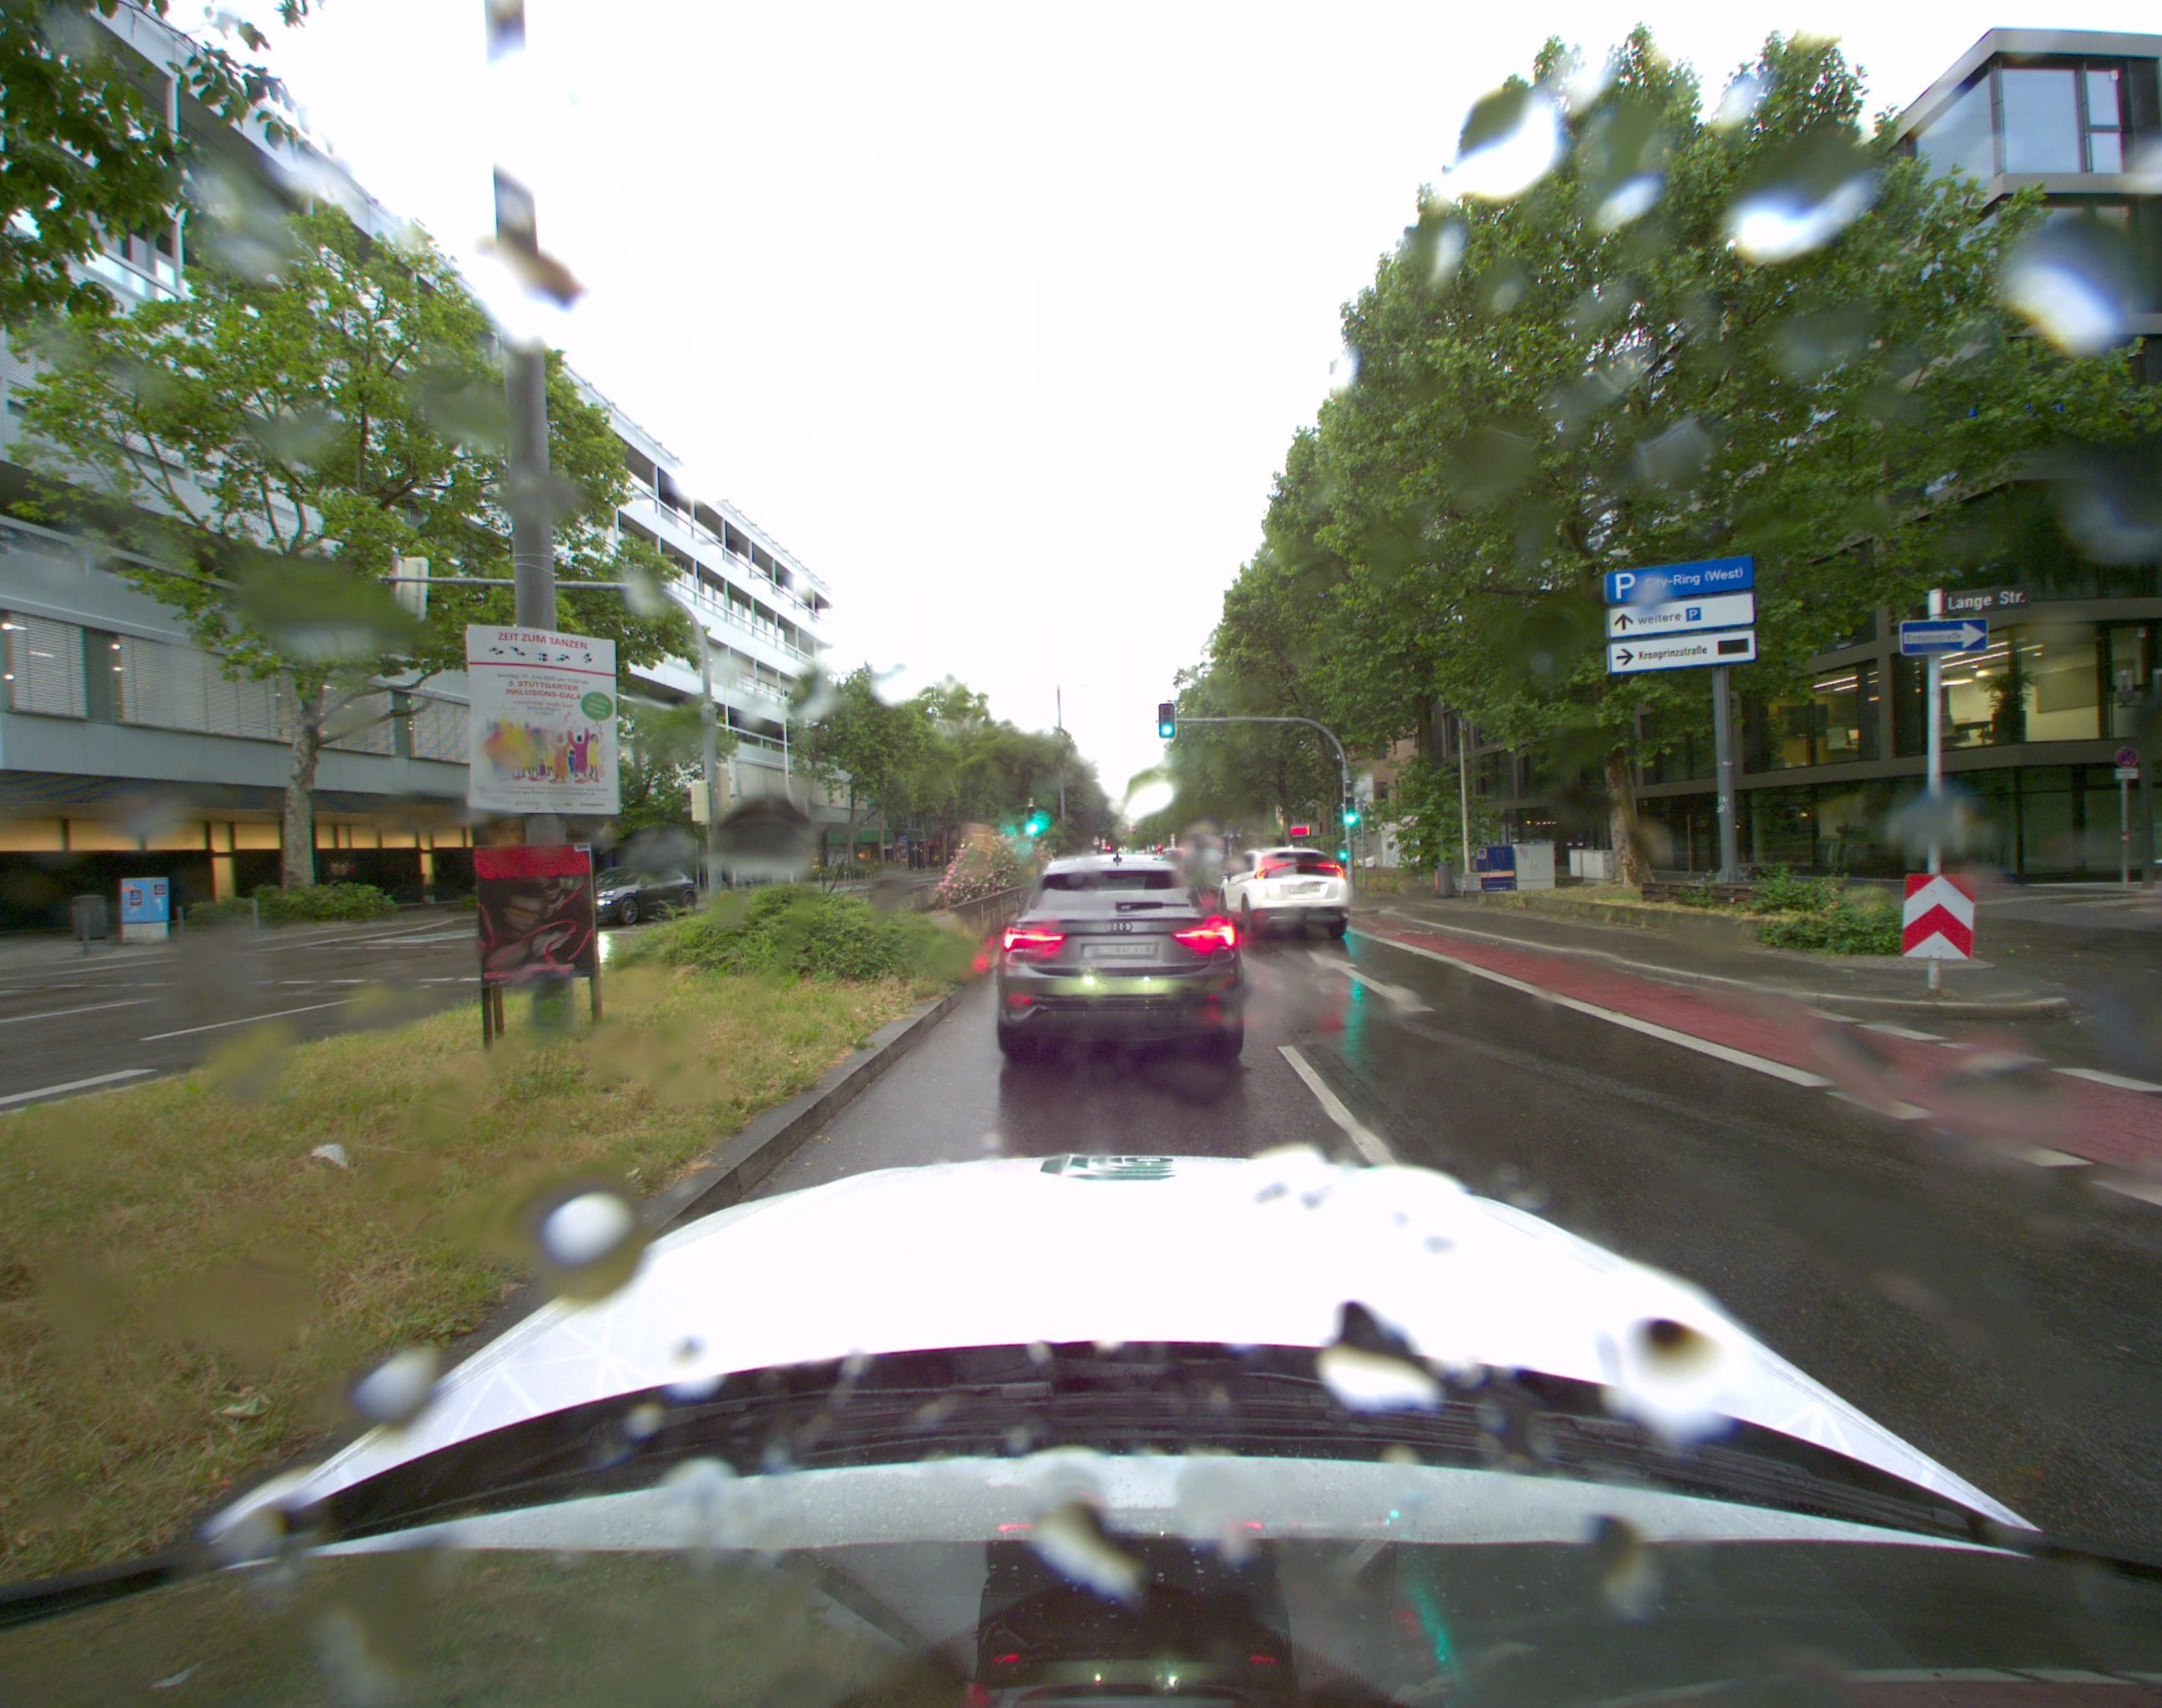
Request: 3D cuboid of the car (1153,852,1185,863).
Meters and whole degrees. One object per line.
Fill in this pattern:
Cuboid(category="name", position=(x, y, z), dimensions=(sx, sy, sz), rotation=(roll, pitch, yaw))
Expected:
Cuboid(category="car", position=(13.767, 0.606, 127.392), dimensions=(4.594, 1.706, 2.012), rotation=(-1, -1, 30))

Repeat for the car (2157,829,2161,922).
Cuboid(category="car", position=(15.794, 0.340, 10.781), dimensions=(4.081, 1.436, 1.781), rotation=(-1, -1, -36))

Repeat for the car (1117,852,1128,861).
Cuboid(category="car", position=(7.594, 0.524, 149.070), dimensions=(1.889, 1.599, 3.940), rotation=(0, -1, 2))

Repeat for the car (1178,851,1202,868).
Cuboid(category="car", position=(10.597, 0.538, 79.285), dimensions=(1.723, 1.571, 4.070), rotation=(0, -1, -2))

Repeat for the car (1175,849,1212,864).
Cuboid(category="car", position=(15.043, 0.366, 108.819), dimensions=(4.548, 2.014, 1.980), rotation=(-1, -1, 41))

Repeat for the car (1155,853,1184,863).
Cuboid(category="car", position=(15.301, 0.723, 140.457), dimensions=(4.594, 1.706, 2.012), rotation=(-1, -1, 30))

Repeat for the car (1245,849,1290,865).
Cuboid(category="car", position=(13.417, 0.229, 58.670), dimensions=(2.856, 1.074, 1.465), rotation=(-1, -1, 33))

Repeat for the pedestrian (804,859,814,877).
Cuboid(category="pedestrian", position=(-21.943, 1.127, 65.780), dimensions=(0.608, 1.482, 0.574), rotation=(0, -1, -1))

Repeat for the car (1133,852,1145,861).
Cuboid(category="car", position=(10.730, 0.457, 151.039), dimensions=(1.985, 1.651, 4.003), rotation=(0, -1, 3))

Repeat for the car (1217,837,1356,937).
Cuboid(category="car", position=(3.846, 0.588, 15.949), dimensions=(1.870, 1.697, 4.002), rotation=(0, -1, 3))

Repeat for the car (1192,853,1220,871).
Cuboid(category="car", position=(10.407, 0.641, 68.223), dimensions=(1.865, 1.421, 4.614), rotation=(0, 0, 3))

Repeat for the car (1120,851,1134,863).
Cuboid(category="car", position=(6.979, 0.515, 123.799), dimensions=(1.986, 1.726, 4.002), rotation=(0, -1, 2))

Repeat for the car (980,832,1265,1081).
Cuboid(category="car", position=(0.332, 0.683, 7.374), dimensions=(1.842, 1.602, 4.001), rotation=(-1, 0, 2))

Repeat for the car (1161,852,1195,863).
Cuboid(category="car", position=(14.695, 0.528, 123.564), dimensions=(4.594, 1.706, 2.012), rotation=(-1, -1, 30))

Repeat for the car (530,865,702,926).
Cuboid(category="car", position=(-13.371, 1.128, 23.842), dimensions=(1.900, 1.584, 4.754), rotation=(0, -1, 6))
